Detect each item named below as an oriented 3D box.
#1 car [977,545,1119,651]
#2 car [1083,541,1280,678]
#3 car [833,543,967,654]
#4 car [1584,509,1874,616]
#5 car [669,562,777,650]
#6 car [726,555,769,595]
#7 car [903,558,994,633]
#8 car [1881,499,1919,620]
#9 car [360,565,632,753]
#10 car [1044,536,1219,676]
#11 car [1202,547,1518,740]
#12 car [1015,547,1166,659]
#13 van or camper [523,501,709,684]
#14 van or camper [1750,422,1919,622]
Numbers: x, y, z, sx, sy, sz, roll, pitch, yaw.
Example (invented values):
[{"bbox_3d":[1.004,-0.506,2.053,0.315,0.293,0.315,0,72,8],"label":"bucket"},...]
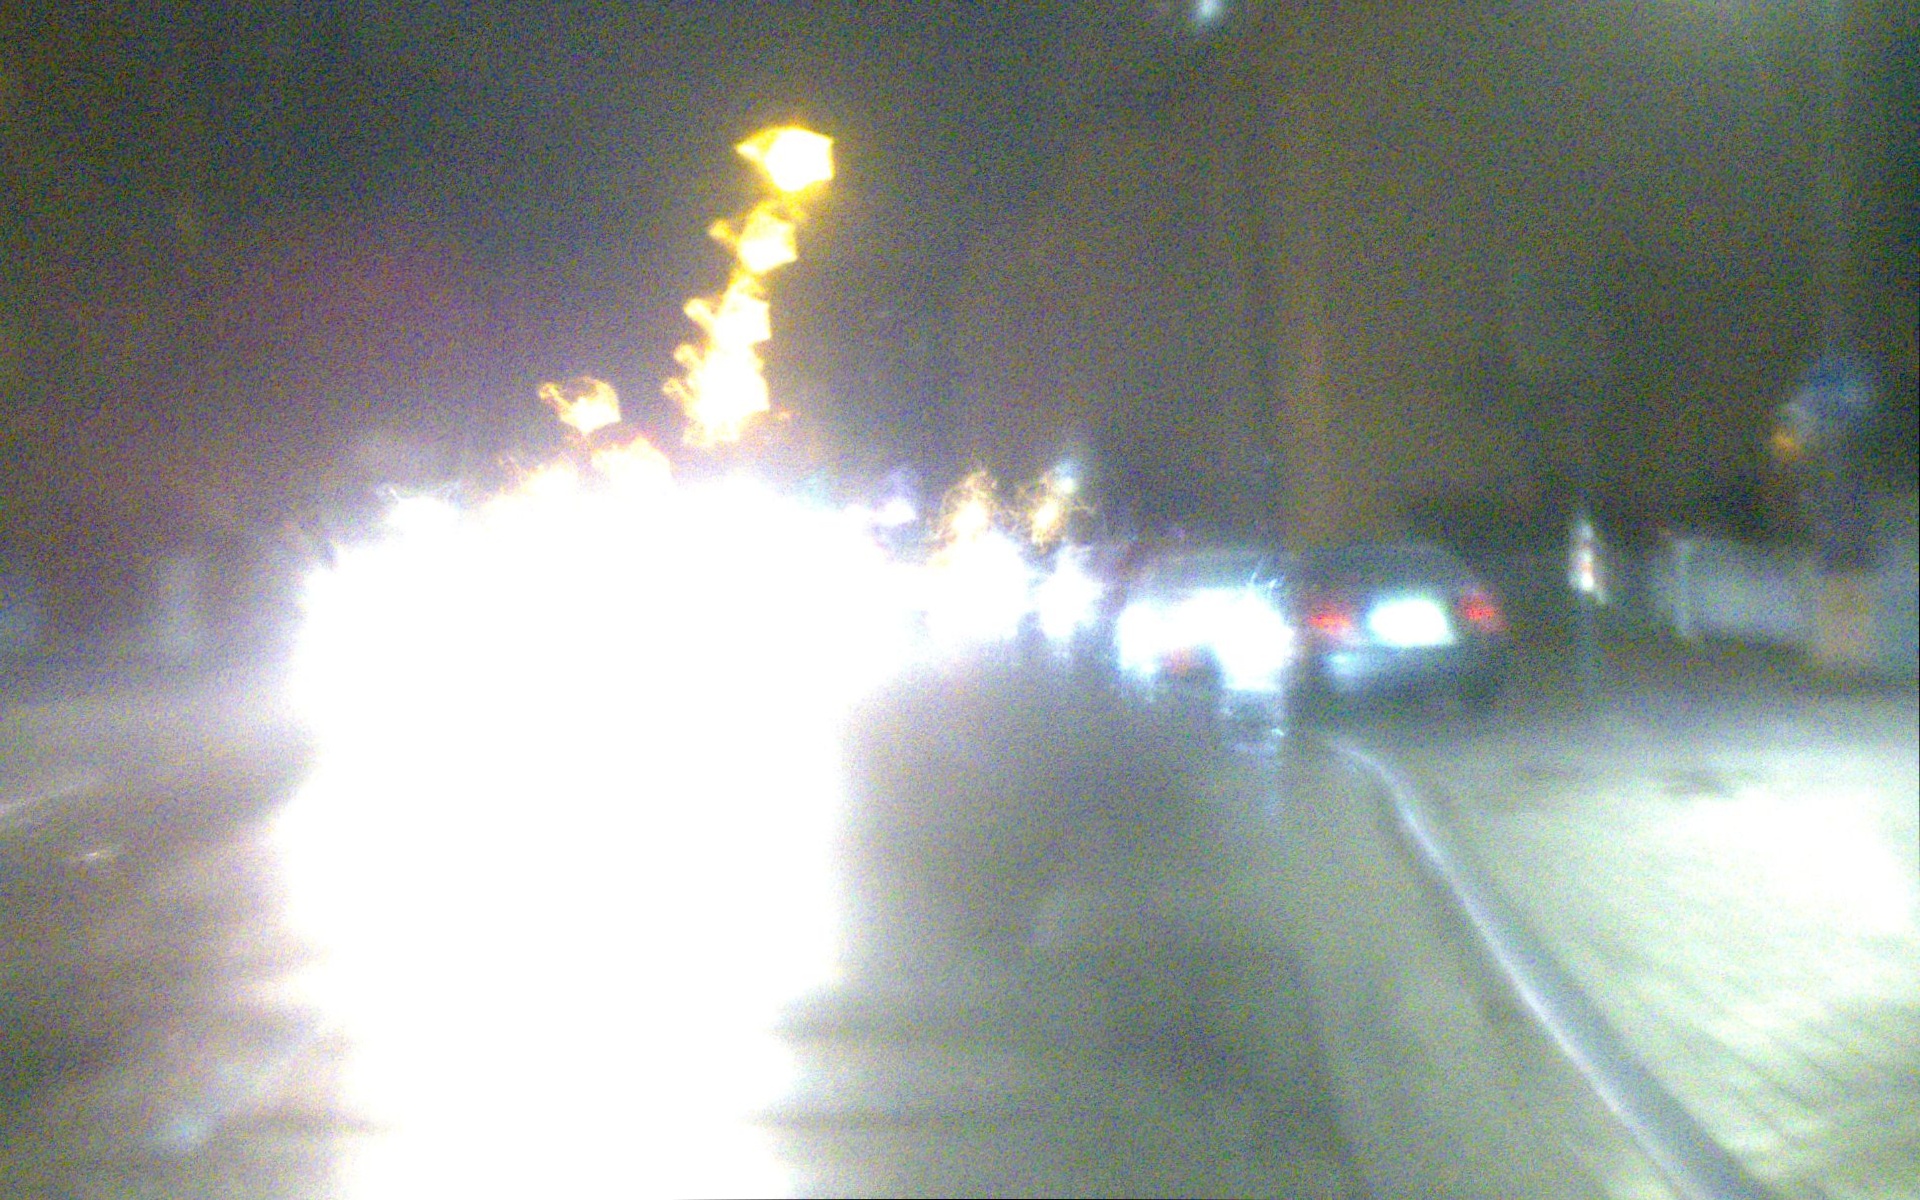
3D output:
[{"bbox_3d":[1.437,-0.067,57.873,1.880,1.567,4.529,-3,2,-4],"label":"car"},{"bbox_3d":[2.582,0.085,40.966,1.713,1.483,4.437,-2,1,-4],"label":"car"},{"bbox_3d":[-0.994,-0.035,54.590,1.993,1.678,4.000,-1,0,-2],"label":"car"},{"bbox_3d":[11.722,-0.579,52.559,3.986,1.515,1.686,-1,1,-4],"label":"car"},{"bbox_3d":[-4.140,0.081,60.511,1.796,1.456,4.579,1,1,-3],"label":"car"},{"bbox_3d":[-9.883,-1.173,159.740,1.812,1.704,3.804,-3,1,-5],"label":"car"},{"bbox_3d":[-0.275,-0.118,73.844,1.628,1.461,4.511,-3,1,-4],"label":"car"},{"bbox_3d":[12.329,-0.500,41.194,1.562,1.464,3.408,-1,1,-2],"label":"car"},{"bbox_3d":[-3.883,0.451,29.377,1.745,1.428,4.000,-2,1,0],"label":"car"},{"bbox_3d":[2.283,0.036,46.819,1.713,1.702,4.188,-3,2,-5],"label":"car"},{"bbox_3d":[3.369,0.308,29.890,1.789,1.444,4.791,-3,1,-4],"label":"car"},{"bbox_3d":[1.958,0.012,52.681,1.754,1.523,4.154,-3,1,-4],"label":"car"},{"bbox_3d":[-4.211,-0.120,42.753,1.870,2.096,4.943,-1,1,-1],"label":"van or camper"},{"bbox_3d":[13.157,-1.055,45.053,5.062,2.518,2.171,-1,1,0],"label":"van or camper"}]
